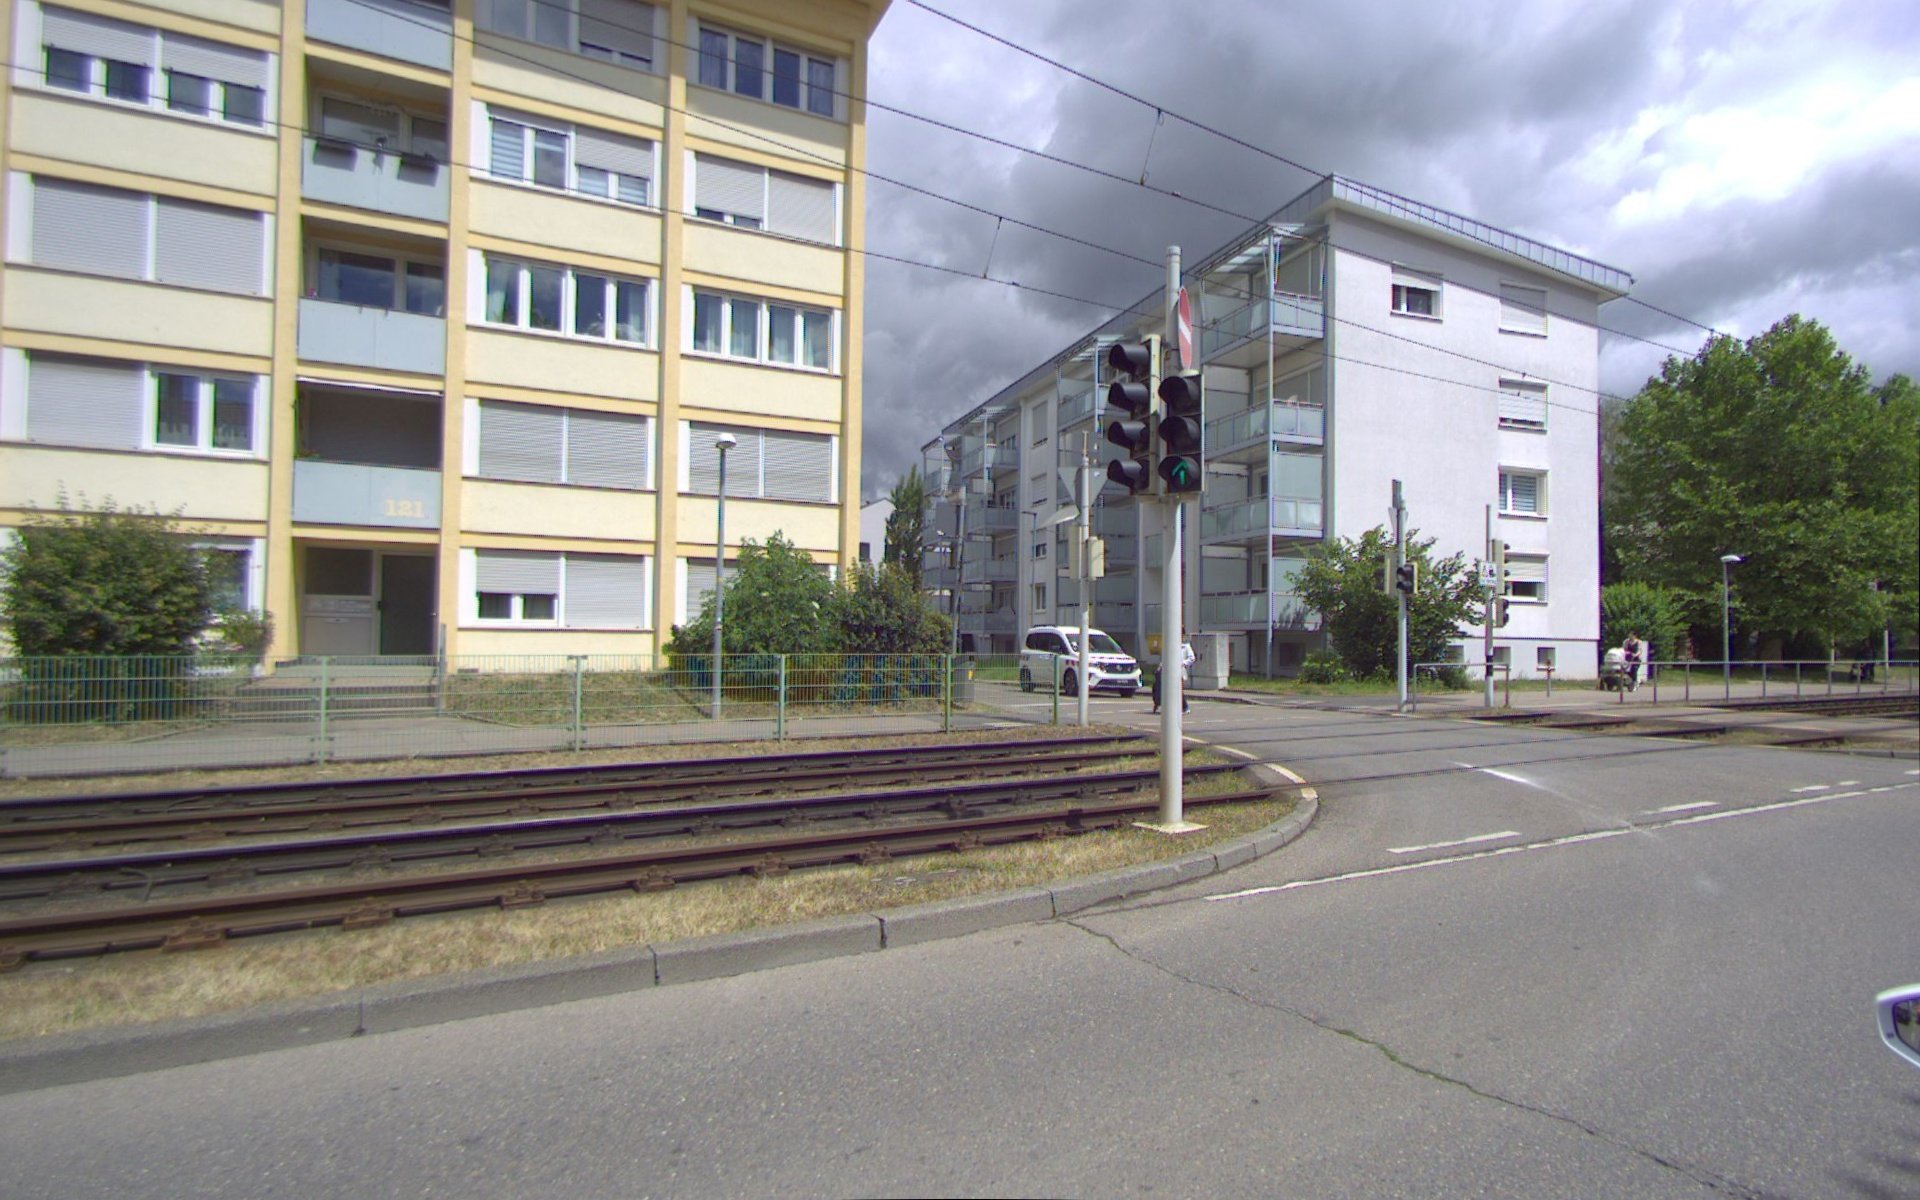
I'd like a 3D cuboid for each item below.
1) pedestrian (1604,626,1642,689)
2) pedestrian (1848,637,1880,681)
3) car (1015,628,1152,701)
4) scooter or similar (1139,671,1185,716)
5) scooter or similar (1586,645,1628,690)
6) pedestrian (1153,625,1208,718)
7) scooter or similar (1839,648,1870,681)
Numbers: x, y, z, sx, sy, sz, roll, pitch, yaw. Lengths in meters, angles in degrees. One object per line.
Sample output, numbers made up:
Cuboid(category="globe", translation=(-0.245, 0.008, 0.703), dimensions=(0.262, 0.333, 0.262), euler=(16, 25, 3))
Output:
Cuboid(category="pedestrian", translation=(18.350, 1.572, 27.803), dimensions=(0.671, 1.715, 0.643), euler=(2, -1, -28))
Cuboid(category="pedestrian", translation=(32.996, 2.153, 36.664), dimensions=(0.864, 1.560, 0.610), euler=(2, -1, -30))
Cuboid(category="car", translation=(3.148, 1.629, 26.522), dimensions=(1.783, 1.751, 4.270), euler=(2, -2, -22))
Cuboid(category="scooter or similar", translation=(3.738, 1.722, 18.614), dimensions=(0.658, 0.784, 0.530), euler=(2, -3, -29))
Cuboid(category="scooter or similar", translation=(17.662, 1.836, 27.424), dimensions=(0.881, 1.178, 0.605), euler=(2, -2, -28))
Cuboid(category="pedestrian", translation=(3.962, 1.275, 18.062), dimensions=(0.764, 1.628, 0.601), euler=(2, -3, -30))
Cuboid(category="scooter or similar", translation=(32.266, 2.319, 36.232), dimensions=(0.811, 1.129, 0.601), euler=(2, -1, -30))
